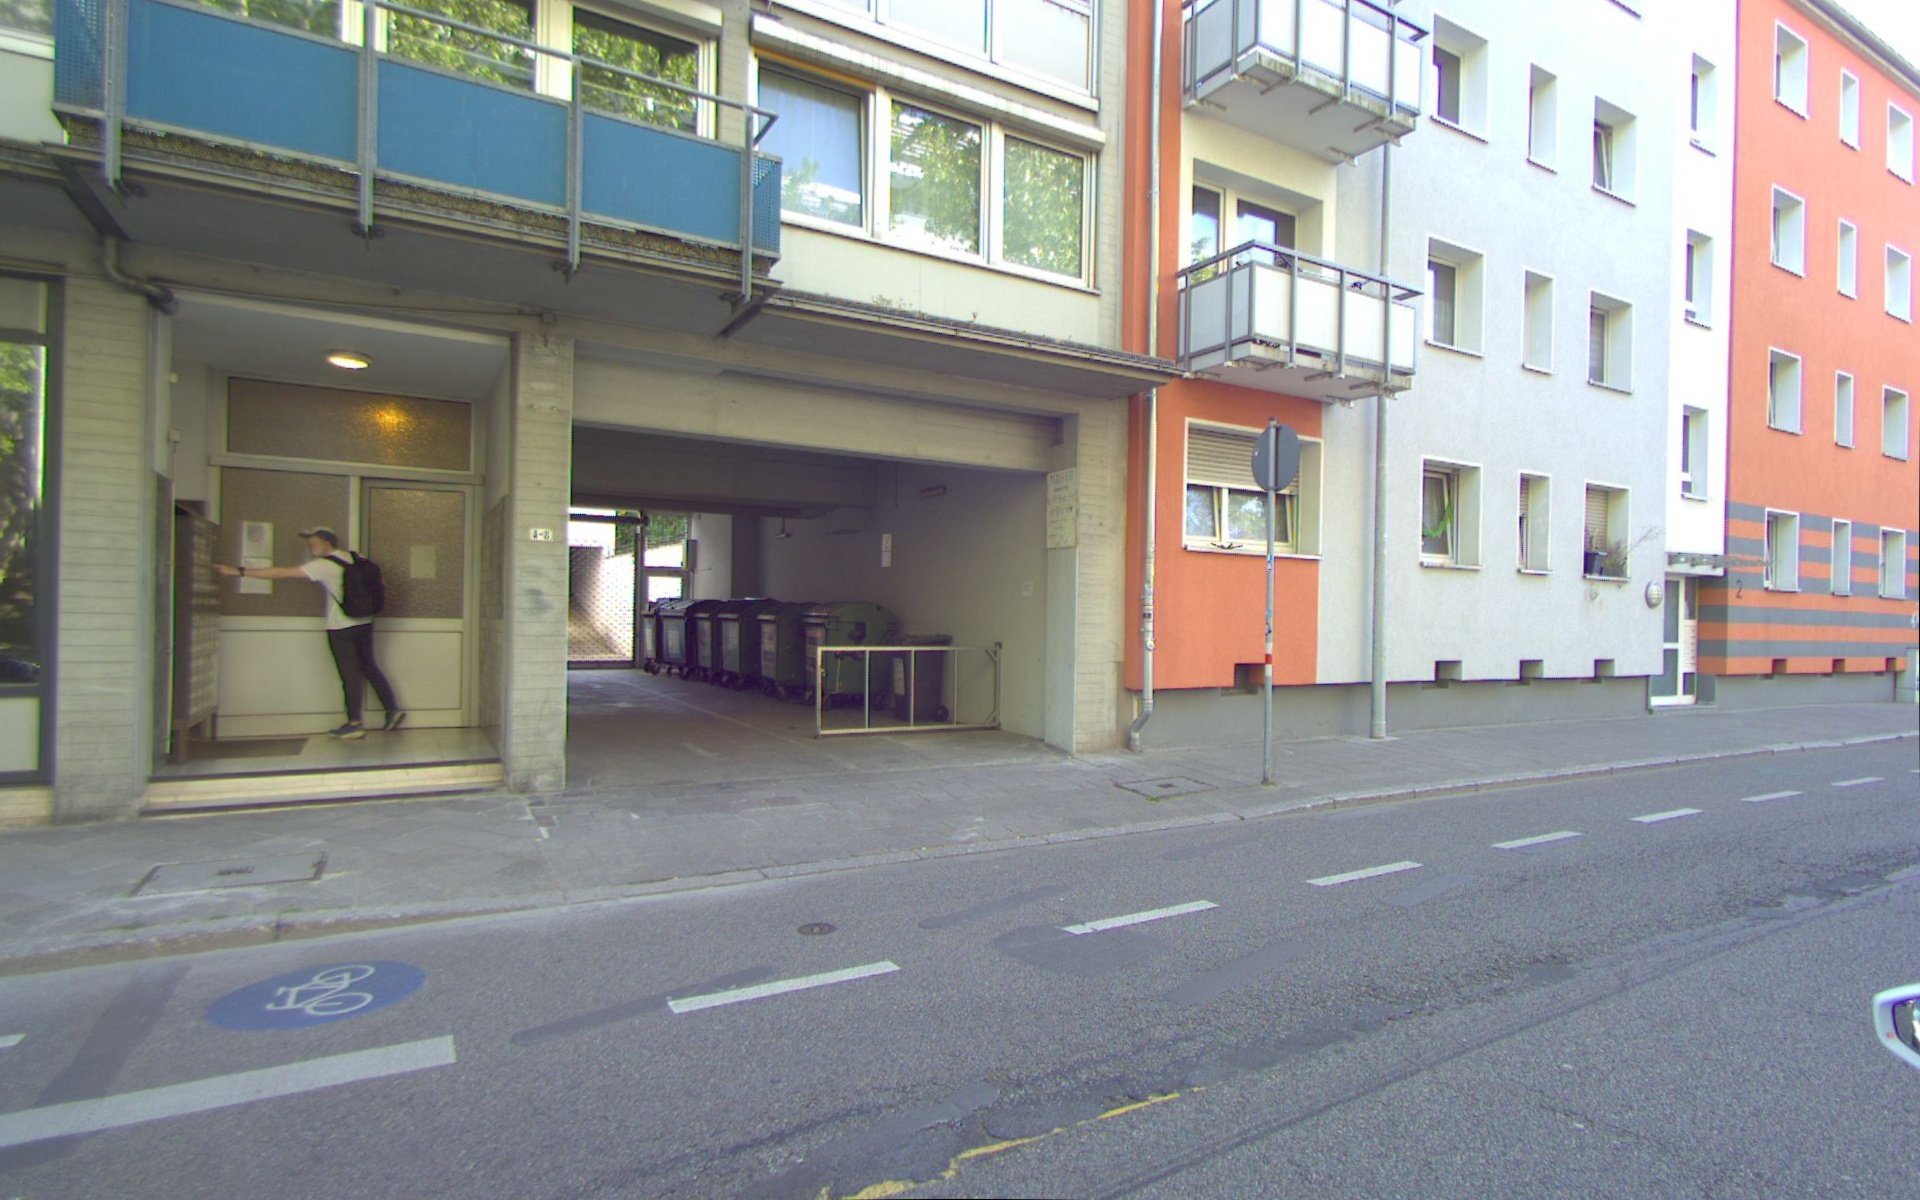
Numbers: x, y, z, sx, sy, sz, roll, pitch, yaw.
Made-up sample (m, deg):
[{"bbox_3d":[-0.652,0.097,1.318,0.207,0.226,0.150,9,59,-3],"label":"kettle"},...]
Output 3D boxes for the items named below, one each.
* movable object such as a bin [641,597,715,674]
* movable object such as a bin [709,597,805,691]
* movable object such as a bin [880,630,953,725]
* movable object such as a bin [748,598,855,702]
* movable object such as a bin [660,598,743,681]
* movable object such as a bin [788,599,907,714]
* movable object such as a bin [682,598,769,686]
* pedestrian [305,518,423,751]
[{"bbox_3d":[-5.615,0.686,19.983,1.186,1.467,1.027,2,0,-30],"label":"movable object such as a bin"},{"bbox_3d":[-3.369,0.700,16.620,1.186,1.467,1.319,2,0,-30],"label":"movable object such as a bin"},{"bbox_3d":[-0.535,0.942,12.411,0.745,1.116,0.463,2,0,-30],"label":"movable object such as a bin"},{"bbox_3d":[-2.403,0.722,15.136,1.186,1.467,1.319,2,0,-30],"label":"movable object such as a bin"},{"bbox_3d":[-4.839,0.722,18.753,1.186,1.467,1.222,2,0,-30],"label":"movable object such as a bin"},{"bbox_3d":[-1.563,0.741,13.802,1.159,1.467,1.319,2,0,-30],"label":"movable object such as a bin"},{"bbox_3d":[-4.140,0.720,17.711,1.186,1.467,1.114,2,0,-30],"label":"movable object such as a bin"},{"bbox_3d":[-5.088,0.289,8.621,0.776,1.904,0.578,2,0,-26],"label":"pedestrian"}]
